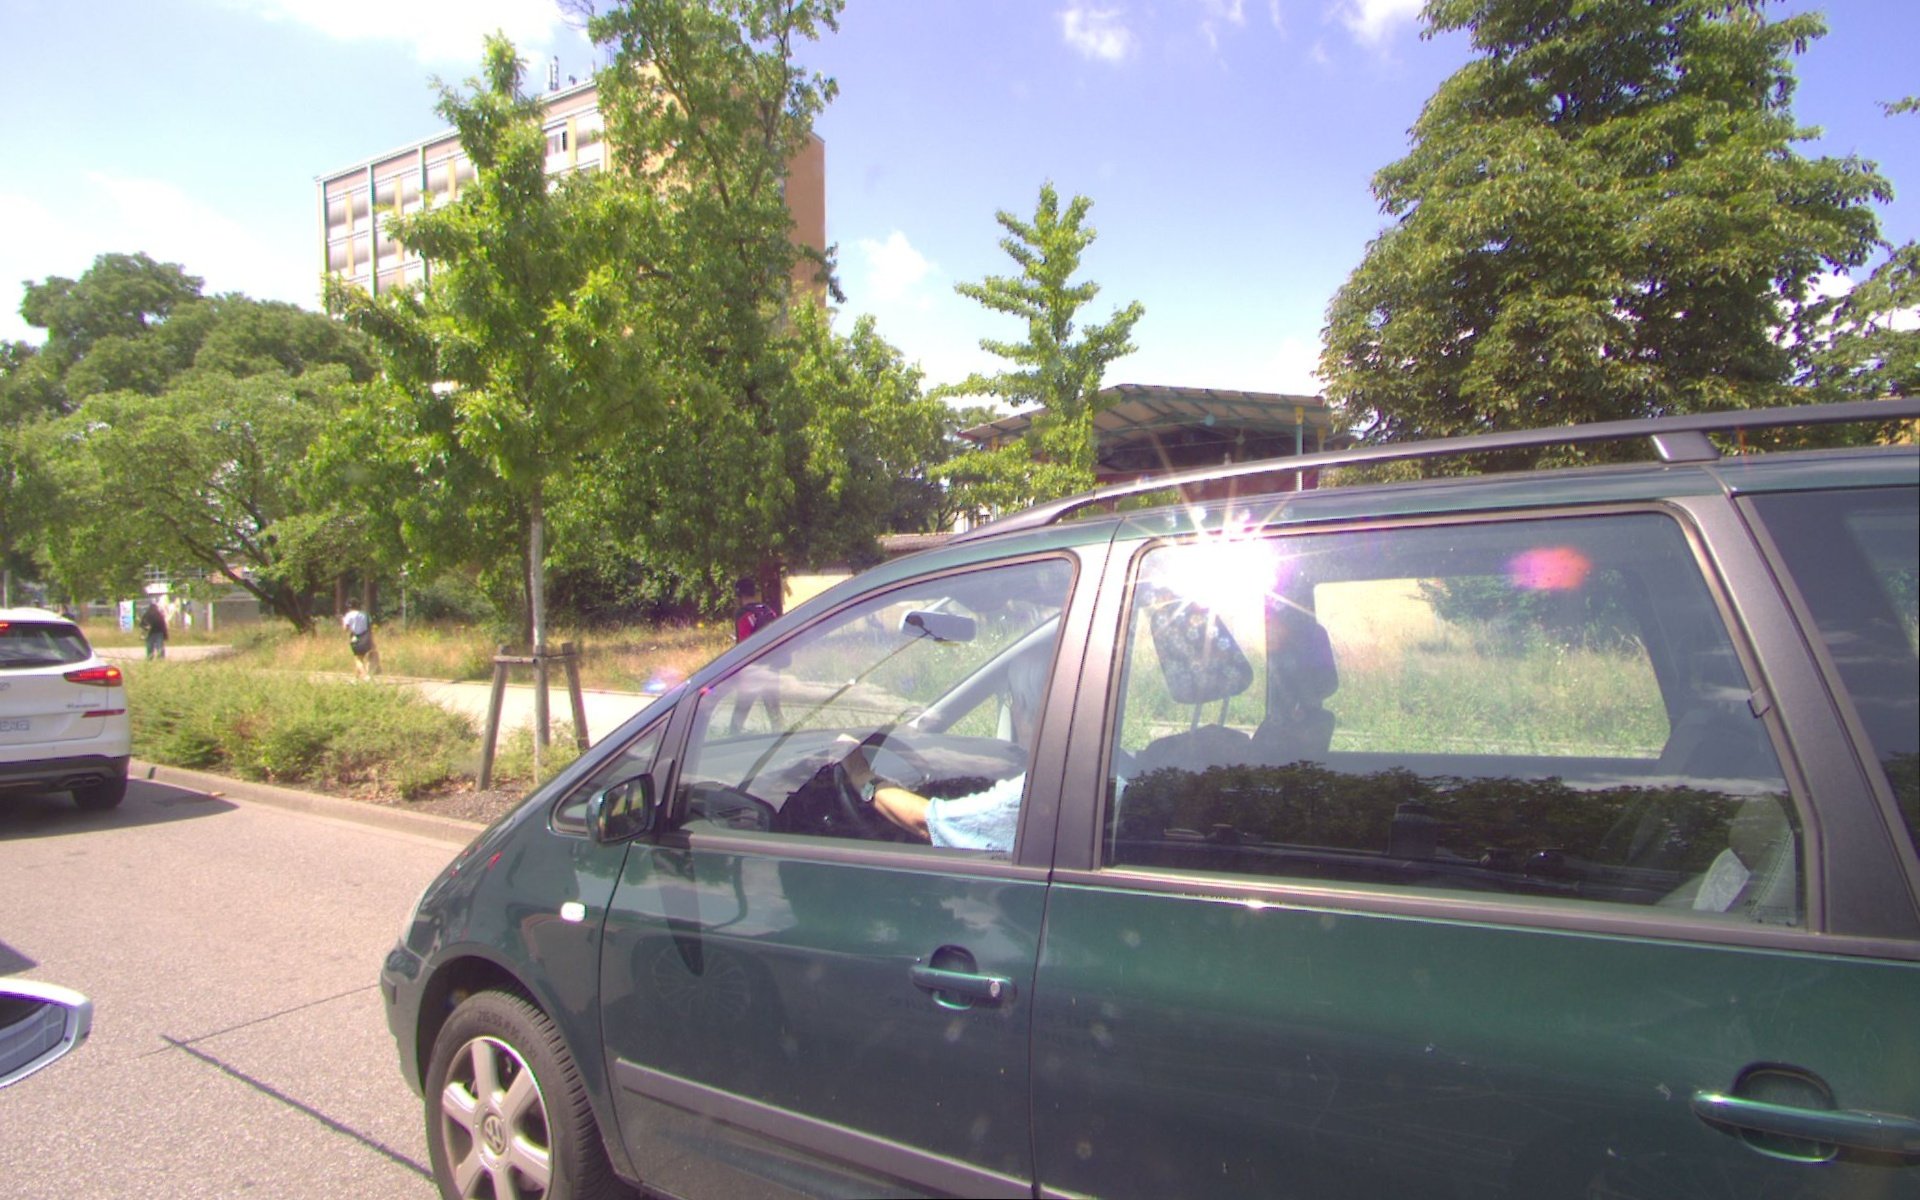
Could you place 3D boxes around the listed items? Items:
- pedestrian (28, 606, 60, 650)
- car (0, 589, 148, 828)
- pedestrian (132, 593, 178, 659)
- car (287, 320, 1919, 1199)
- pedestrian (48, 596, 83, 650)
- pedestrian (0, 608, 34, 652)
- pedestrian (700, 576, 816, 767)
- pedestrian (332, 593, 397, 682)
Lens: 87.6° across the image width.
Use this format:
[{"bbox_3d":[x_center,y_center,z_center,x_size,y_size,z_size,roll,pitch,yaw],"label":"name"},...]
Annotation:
[{"bbox_3d":[-39.771,1.198,43.485,0.803,1.874,0.759,0,1,24],"label":"pedestrian"},{"bbox_3d":[-8.473,0.785,8.168,3.919,1.701,1.810,0,0,34],"label":"car"},{"bbox_3d":[-21.097,0.671,26.237,0.805,1.677,0.756,0,1,36],"label":"pedestrian"},{"bbox_3d":[0.525,0.633,2.286,4.329,1.737,1.799,0,-2,32],"label":"car"},{"bbox_3d":[-30.753,0.776,34.417,0.806,1.813,0.756,0,0,37],"label":"pedestrian"},{"bbox_3d":[-40.083,1.259,42.563,0.802,1.874,0.759,0,1,22],"label":"pedestrian"},{"bbox_3d":[-1.914,0.639,9.479,0.807,1.706,0.754,0,1,44],"label":"pedestrian"},{"bbox_3d":[-10.913,0.675,18.357,0.805,1.578,0.757,0,1,34],"label":"pedestrian"}]
